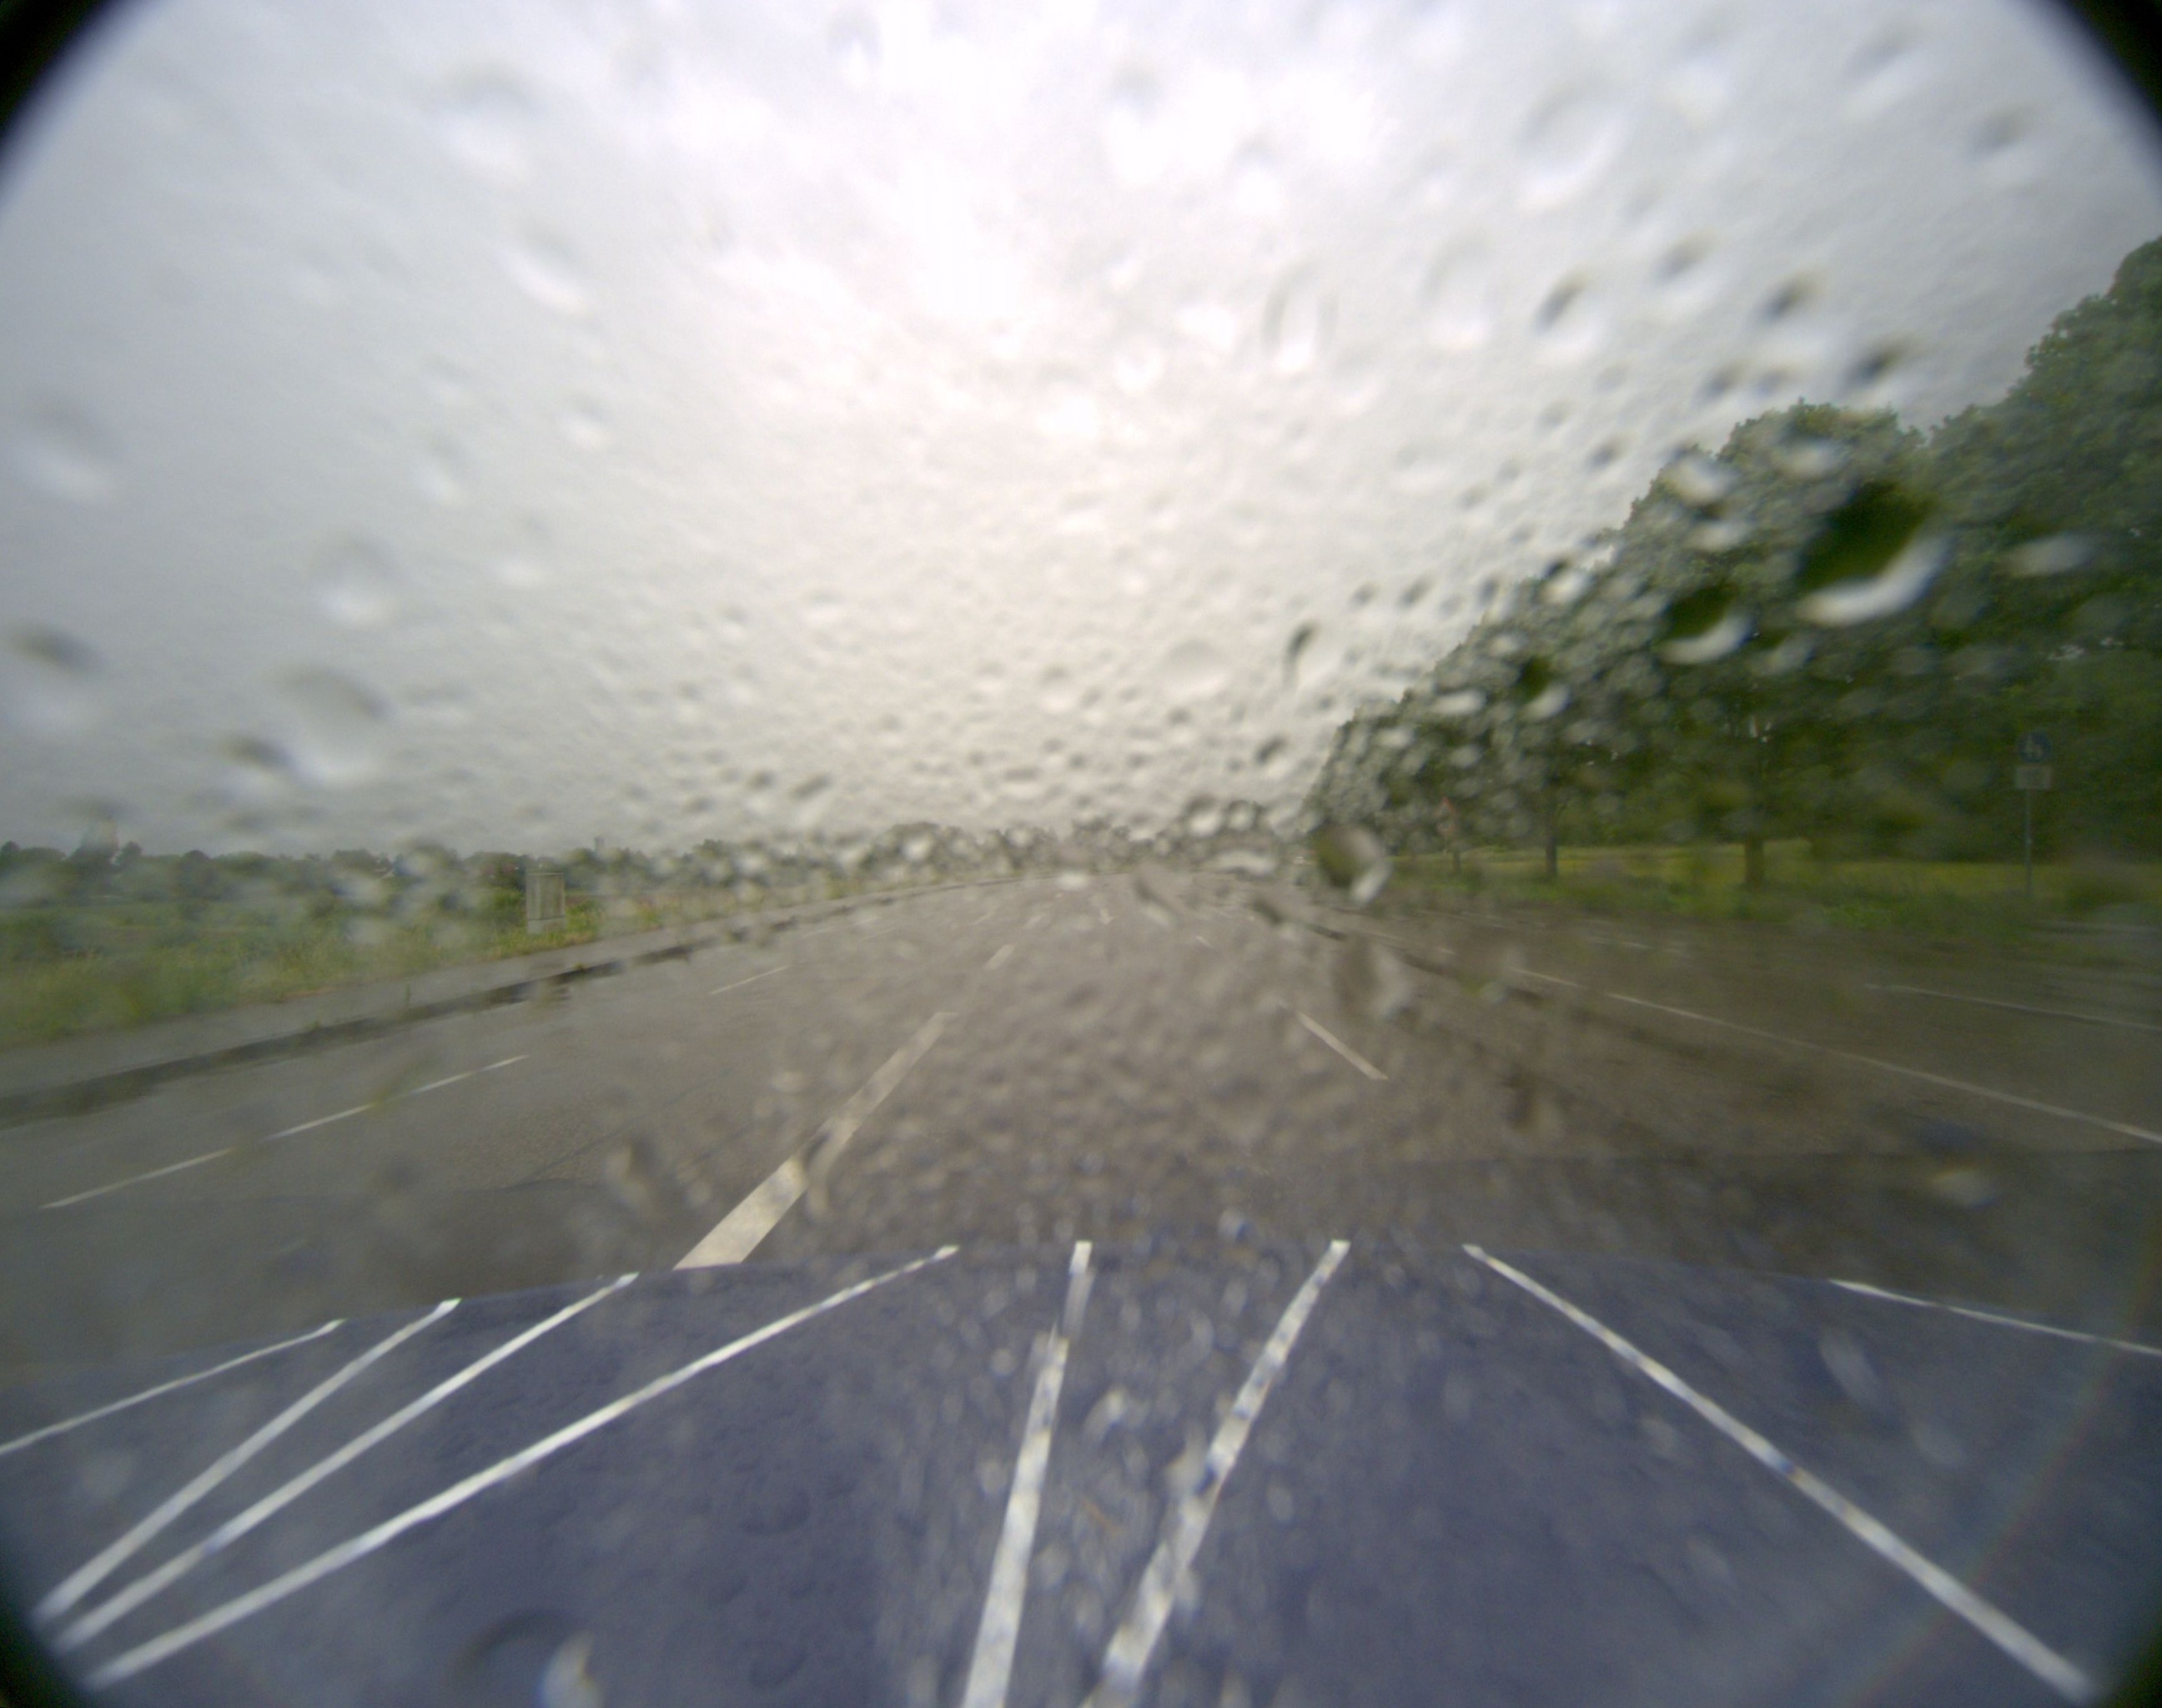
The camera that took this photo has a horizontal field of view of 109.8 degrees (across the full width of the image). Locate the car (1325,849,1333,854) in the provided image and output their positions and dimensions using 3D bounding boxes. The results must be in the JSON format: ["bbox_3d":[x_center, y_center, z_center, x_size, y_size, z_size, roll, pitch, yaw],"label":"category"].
[{"bbox_3d":[66.475,-0.634,203.813,1.741,1.478,4.016,1,0,16],"label":"car"}]

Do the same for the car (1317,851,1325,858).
[{"bbox_3d":[59.542,0.017,188.641,1.887,1.578,4.123,-3,0,17],"label":"car"}]

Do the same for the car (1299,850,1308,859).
[{"bbox_3d":[50.491,0.044,172.181,1.741,1.979,4.016,1,1,18],"label":"car"}]

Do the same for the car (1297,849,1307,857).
[{"bbox_3d":[42.974,-0.171,147.966,1.881,1.564,4.650,1,0,15],"label":"car"}]
